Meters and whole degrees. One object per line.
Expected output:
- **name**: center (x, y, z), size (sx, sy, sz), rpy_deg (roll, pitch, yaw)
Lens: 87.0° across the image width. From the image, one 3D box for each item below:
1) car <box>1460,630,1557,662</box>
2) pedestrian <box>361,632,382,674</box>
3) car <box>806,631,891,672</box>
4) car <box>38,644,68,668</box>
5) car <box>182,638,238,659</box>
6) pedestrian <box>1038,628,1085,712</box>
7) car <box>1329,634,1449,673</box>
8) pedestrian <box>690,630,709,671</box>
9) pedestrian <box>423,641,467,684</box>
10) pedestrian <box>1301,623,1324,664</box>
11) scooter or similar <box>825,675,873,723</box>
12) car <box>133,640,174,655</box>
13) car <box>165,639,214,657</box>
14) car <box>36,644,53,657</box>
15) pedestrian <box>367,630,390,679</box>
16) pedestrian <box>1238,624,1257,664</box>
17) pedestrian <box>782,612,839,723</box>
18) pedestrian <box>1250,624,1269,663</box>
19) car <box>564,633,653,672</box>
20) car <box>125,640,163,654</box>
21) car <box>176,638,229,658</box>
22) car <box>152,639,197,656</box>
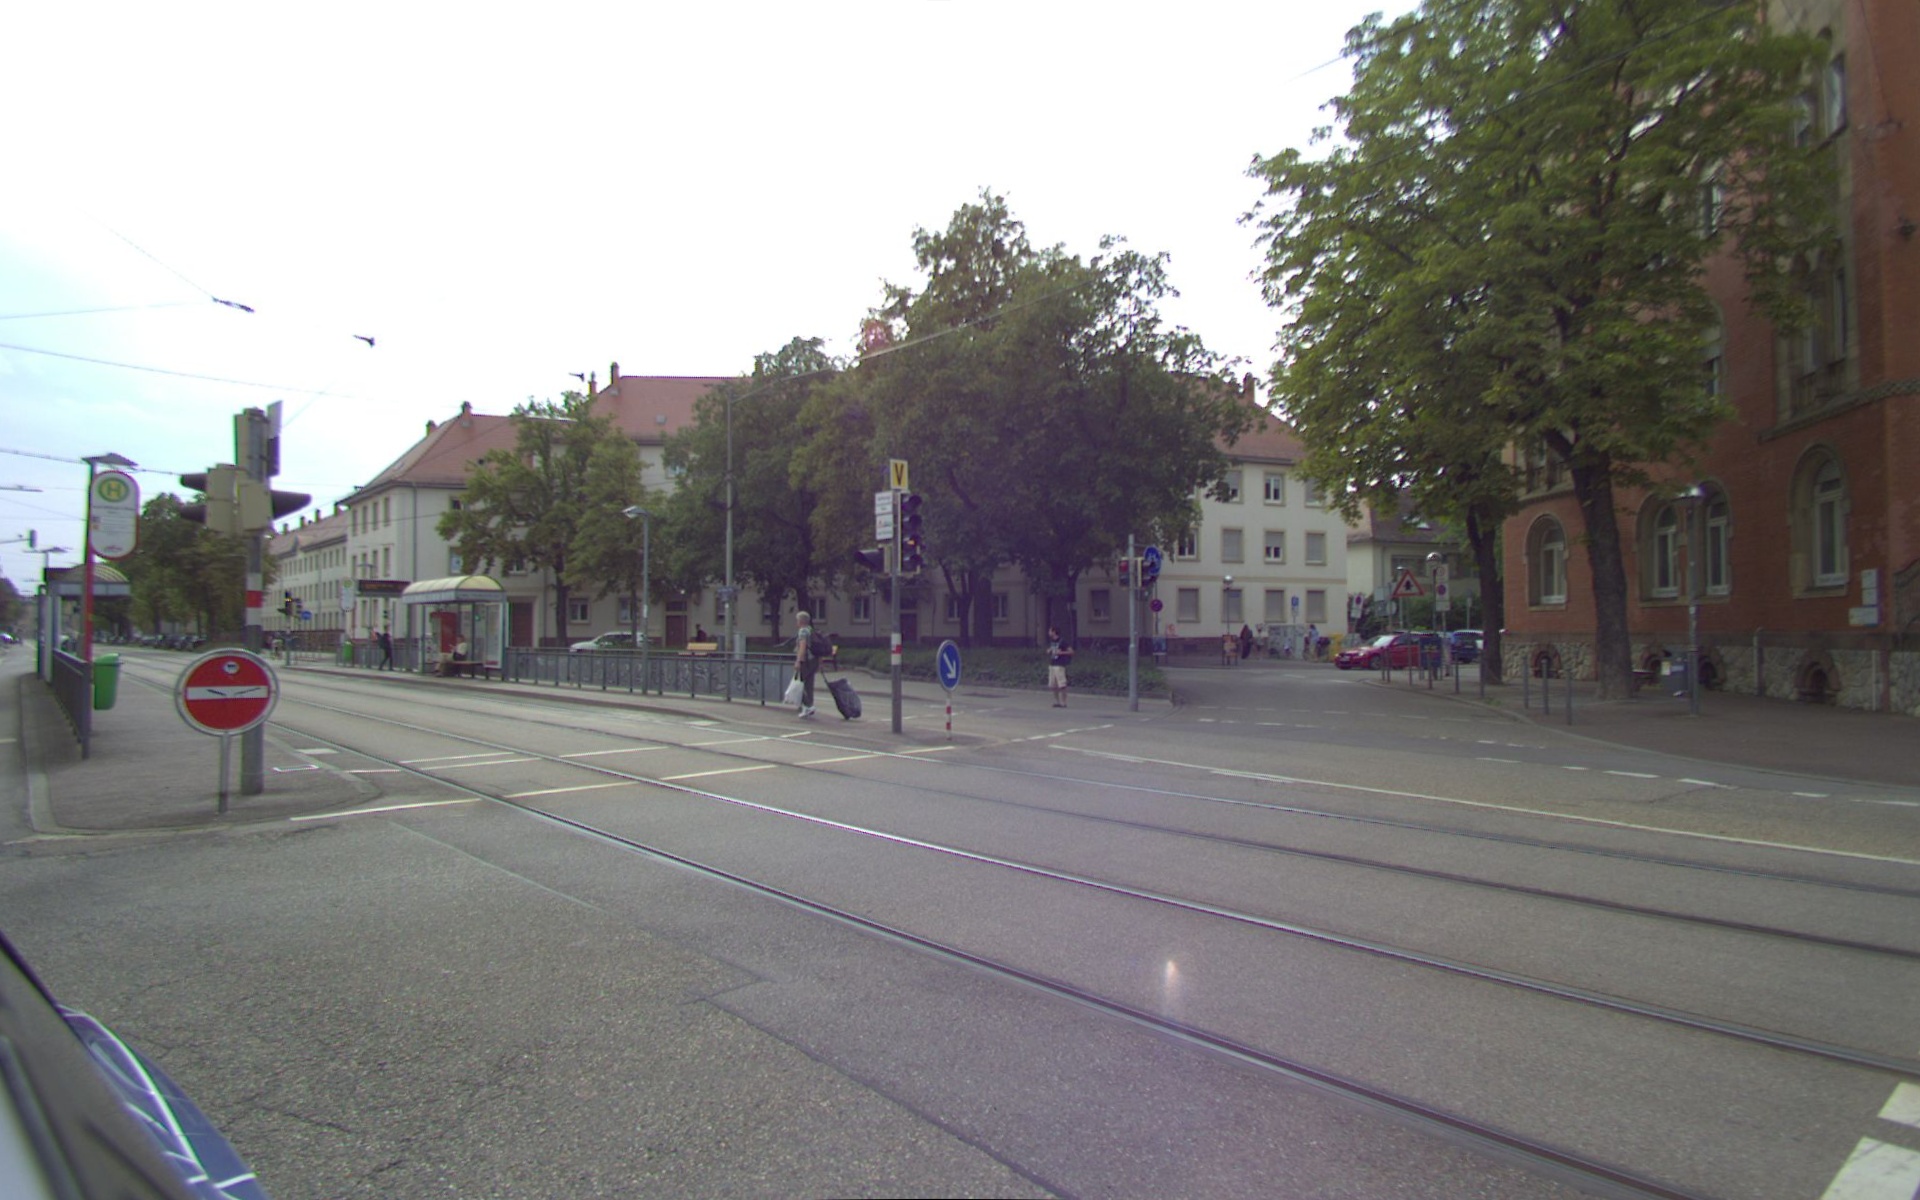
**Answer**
- **car**: center (25.422, 2.115, 46.915), size (3.931, 1.416, 1.709), rpy_deg (0, -2, -20)
- **pedestrian**: center (-26.062, 2.347, 44.811), size (0.463, 1.848, 0.650), rpy_deg (-2, -2, 33)
- **car**: center (-5.398, 2.484, 49.048), size (3.740, 1.879, 1.836), rpy_deg (-2, -2, 28)
- **car**: center (-82.143, 5.064, 91.707), size (1.969, 2.029, 4.005), rpy_deg (0, -2, -42)
- **car**: center (-66.907, 4.334, 90.284), size (3.938, 1.739, 1.879), rpy_deg (0, -2, -41)
- **pedestrian**: center (2.116, 1.446, 21.117), size (0.712, 1.703, 0.645), rpy_deg (-2, -3, 43)
- **car**: center (16.598, 2.035, 39.141), size (4.237, 1.416, 1.709), rpy_deg (0, -2, -21)
- **pedestrian**: center (-13.138, 2.564, 51.108), size (0.851, 2.029, 0.765), rpy_deg (-1, -1, -9)
- **pedestrian**: center (-15.598, 1.885, 30.653), size (0.724, 1.246, 1.018), rpy_deg (-3, -2, 45)
- **pedestrian**: center (15.912, 1.968, 45.684), size (0.827, 1.840, 0.660), rpy_deg (-2, -2, 27)
- **scooter or similar**: center (-1.807, 1.596, 16.415), size (0.660, 0.718, 0.605), rpy_deg (4, -4, -13)
- **car**: center (-100.700, 5.878, 126.347), size (3.938, 1.739, 1.879), rpy_deg (0, -2, -41)
- **car**: center (-79.916, 4.947, 105.044), size (3.938, 1.739, 1.879), rpy_deg (0, -2, -41)
- **car**: center (-149.051, 8.159, 164.787), size (1.969, 2.029, 4.005), rpy_deg (0, -2, -42)
- **pedestrian**: center (-20.966, 1.963, 36.486), size (0.619, 1.716, 0.580), rpy_deg (-3, -2, 43)
- **pedestrian**: center (13.499, 2.061, 47.511), size (0.543, 1.840, 0.590), rpy_deg (-1, -2, -24)
- **pedestrian**: center (-2.394, 1.082, 16.177), size (0.802, 1.703, 0.686), rpy_deg (2, -4, -11)
- **pedestrian**: center (14.166, 2.053, 47.835), size (0.543, 1.840, 0.590), rpy_deg (-1, -2, -24)
- **car**: center (-18.247, 2.690, 52.690), size (4.132, 1.879, 1.857), rpy_deg (-1, -1, -9)
- **car**: center (-112.158, 6.413, 139.093), size (3.938, 1.739, 1.879), rpy_deg (0, -2, -41)
- **car**: center (-72.916, 4.625, 97.455), size (3.938, 1.739, 1.879), rpy_deg (0, -2, -41)
- **car**: center (-87.303, 5.276, 112.499), size (3.938, 1.739, 1.879), rpy_deg (0, -2, -41)
